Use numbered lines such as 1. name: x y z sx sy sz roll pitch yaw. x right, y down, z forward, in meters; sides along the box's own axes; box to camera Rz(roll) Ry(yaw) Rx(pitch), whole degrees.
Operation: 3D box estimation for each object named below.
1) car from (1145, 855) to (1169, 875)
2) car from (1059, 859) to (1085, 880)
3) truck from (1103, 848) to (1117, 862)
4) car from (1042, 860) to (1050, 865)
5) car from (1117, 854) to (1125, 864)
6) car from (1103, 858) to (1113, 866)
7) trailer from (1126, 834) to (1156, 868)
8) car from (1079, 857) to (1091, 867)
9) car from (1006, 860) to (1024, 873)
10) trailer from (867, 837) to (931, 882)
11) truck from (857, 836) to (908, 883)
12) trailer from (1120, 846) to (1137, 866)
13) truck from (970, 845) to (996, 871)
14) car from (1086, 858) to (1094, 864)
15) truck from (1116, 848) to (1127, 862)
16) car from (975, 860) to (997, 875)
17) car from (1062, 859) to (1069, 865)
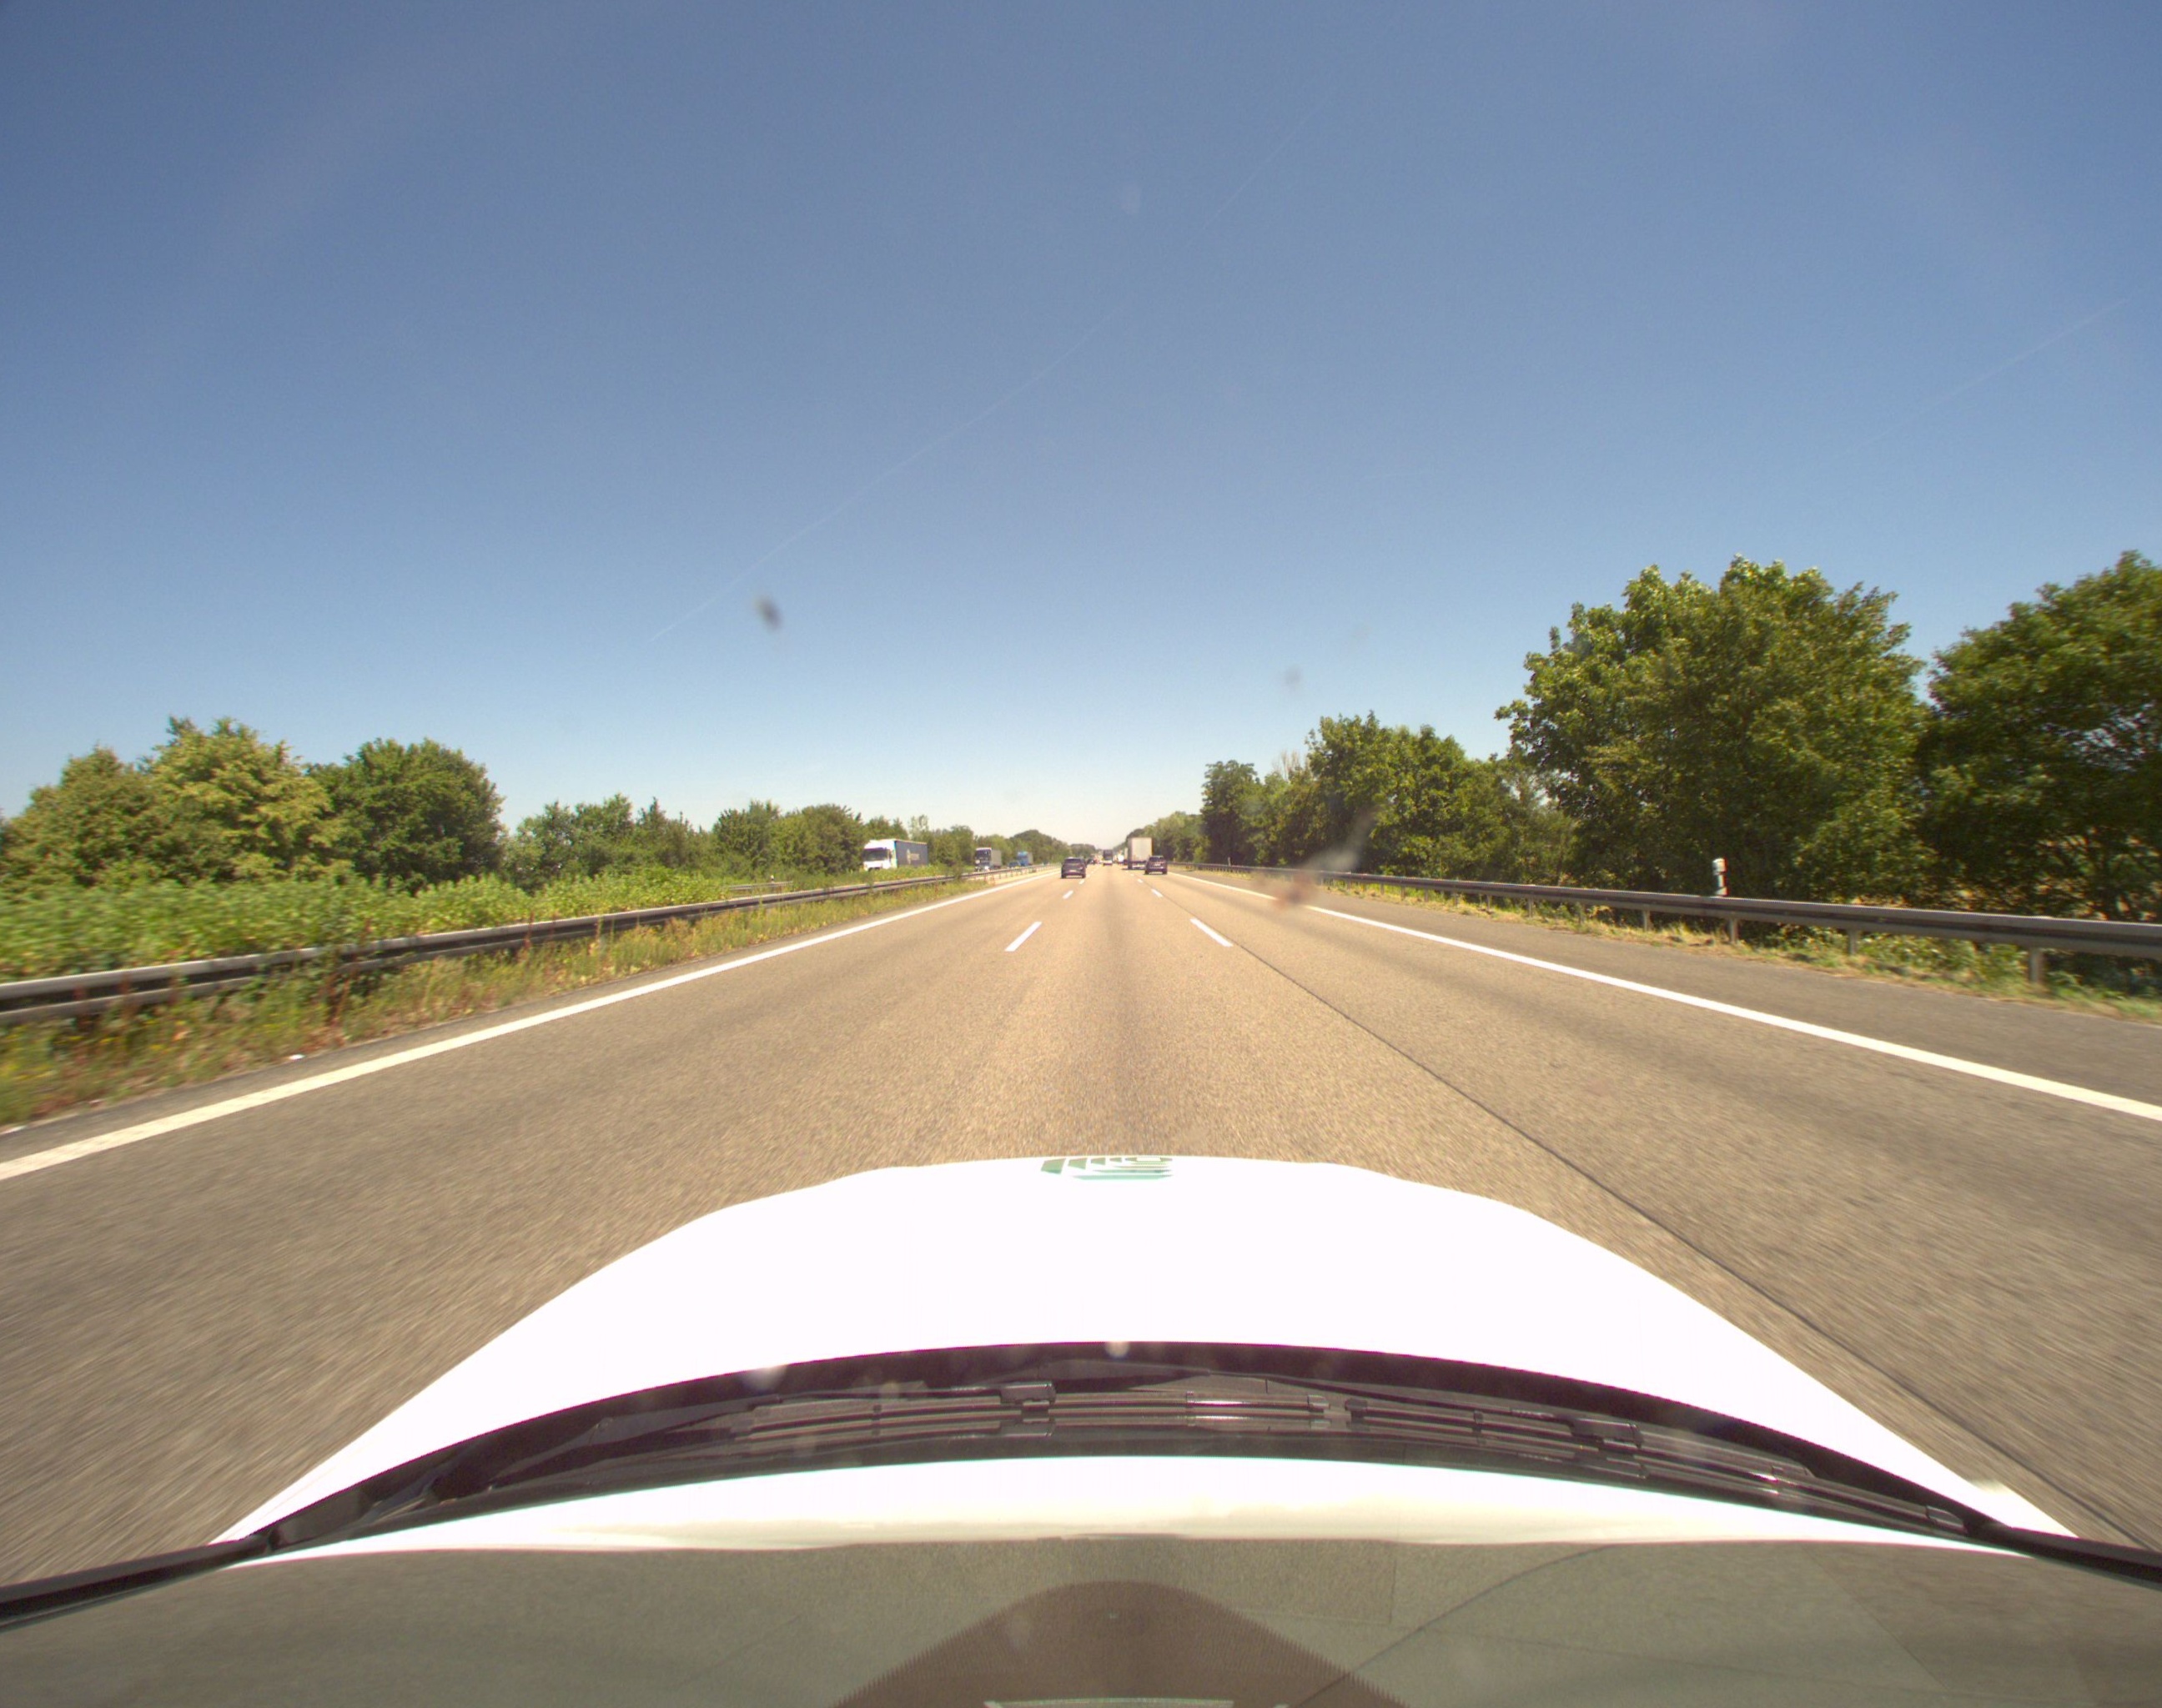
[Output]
1. car: 6.634 0.949 71.658 1.838 1.629 4.137 -2 0 2
2. car: -0.635 1.163 62.125 1.752 1.531 4.287 0 0 2
3. truck: 8.022 0.174 226.835 3.652 3.725 7.114 0 0 3
4. car: -9.729 2.380 224.921 1.843 1.463 4.315 2 -1 1
5. car: 10.052 1.202 202.929 1.900 2.425 4.287 0 0 2
6. car: 5.232 1.529 157.158 1.893 1.531 4.086 0 0 2
7. trailer: 7.649 -0.299 105.442 3.421 4.181 13.639 0 -1 2
8. car: 0.638 1.256 131.818 1.893 1.531 4.086 0 0 2
9. car: -8.743 1.612 108.255 1.744 1.484 4.730 -6 -1 3
10. trailer: -18.601 0.577 84.474 2.909 4.186 13.546 -4 -1 2
11. truck: -18.799 0.552 77.559 2.905 4.129 6.196 -4 -1 2
12. trailer: 9.580 0.429 166.054 3.111 3.926 9.938 0 0 1
13. truck: -16.614 0.710 138.507 3.186 4.129 6.196 -4 0 2
14. car: 2.341 1.760 201.482 1.900 1.531 4.287 0 0 2
15. truck: 11.527 0.268 231.521 2.781 3.725 7.114 0 0 3
16. car: -13.351 1.901 114.854 2.220 1.989 5.358 -1 0 2
17. car: -4.508 2.307 240.186 1.843 1.463 5.170 -4 -1 1
